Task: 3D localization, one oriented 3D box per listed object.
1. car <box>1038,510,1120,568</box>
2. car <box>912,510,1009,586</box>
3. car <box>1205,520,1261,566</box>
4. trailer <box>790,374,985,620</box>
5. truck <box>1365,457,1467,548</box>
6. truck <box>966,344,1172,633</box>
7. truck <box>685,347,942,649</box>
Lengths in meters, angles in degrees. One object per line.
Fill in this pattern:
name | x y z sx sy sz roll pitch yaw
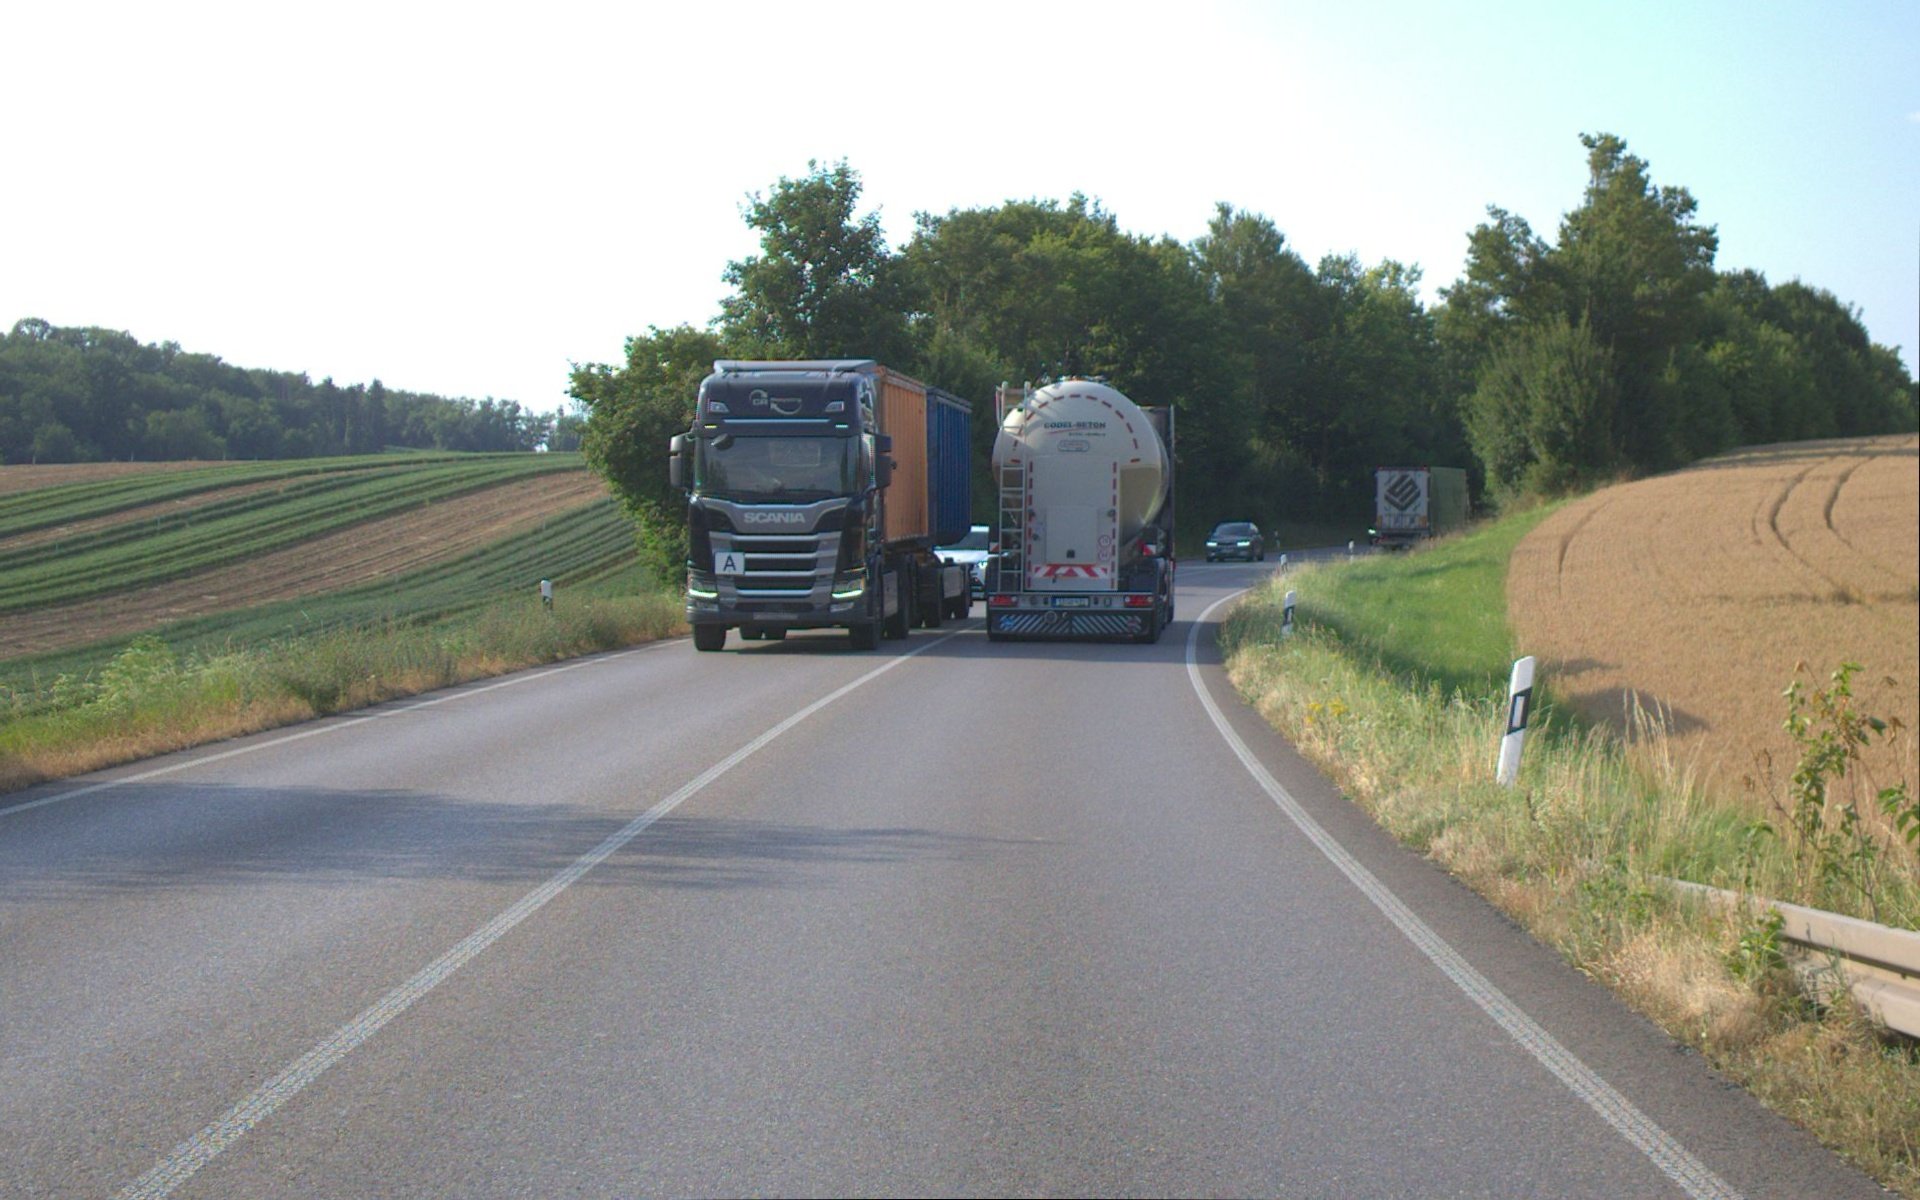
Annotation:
car | 3.606 -1.839 103.488 1.976 1.645 4.361 -1 2 9
car | 0.034 -1.210 78.528 1.975 1.645 4.362 -1 2 3
car | 11.249 -2.360 141.283 1.902 1.765 4.491 -1 2 9
trailer | -1.127 -1.782 59.508 2.365 3.907 8.960 -1 2 5
truck | 22.403 -4.799 168.235 3.186 4.213 13.163 -1 2 15
truck | 1.965 -1.715 55.835 2.893 4.128 13.171 0 1 4
truck | -1.940 -1.486 49.979 2.389 3.907 10.158 -1 2 5
